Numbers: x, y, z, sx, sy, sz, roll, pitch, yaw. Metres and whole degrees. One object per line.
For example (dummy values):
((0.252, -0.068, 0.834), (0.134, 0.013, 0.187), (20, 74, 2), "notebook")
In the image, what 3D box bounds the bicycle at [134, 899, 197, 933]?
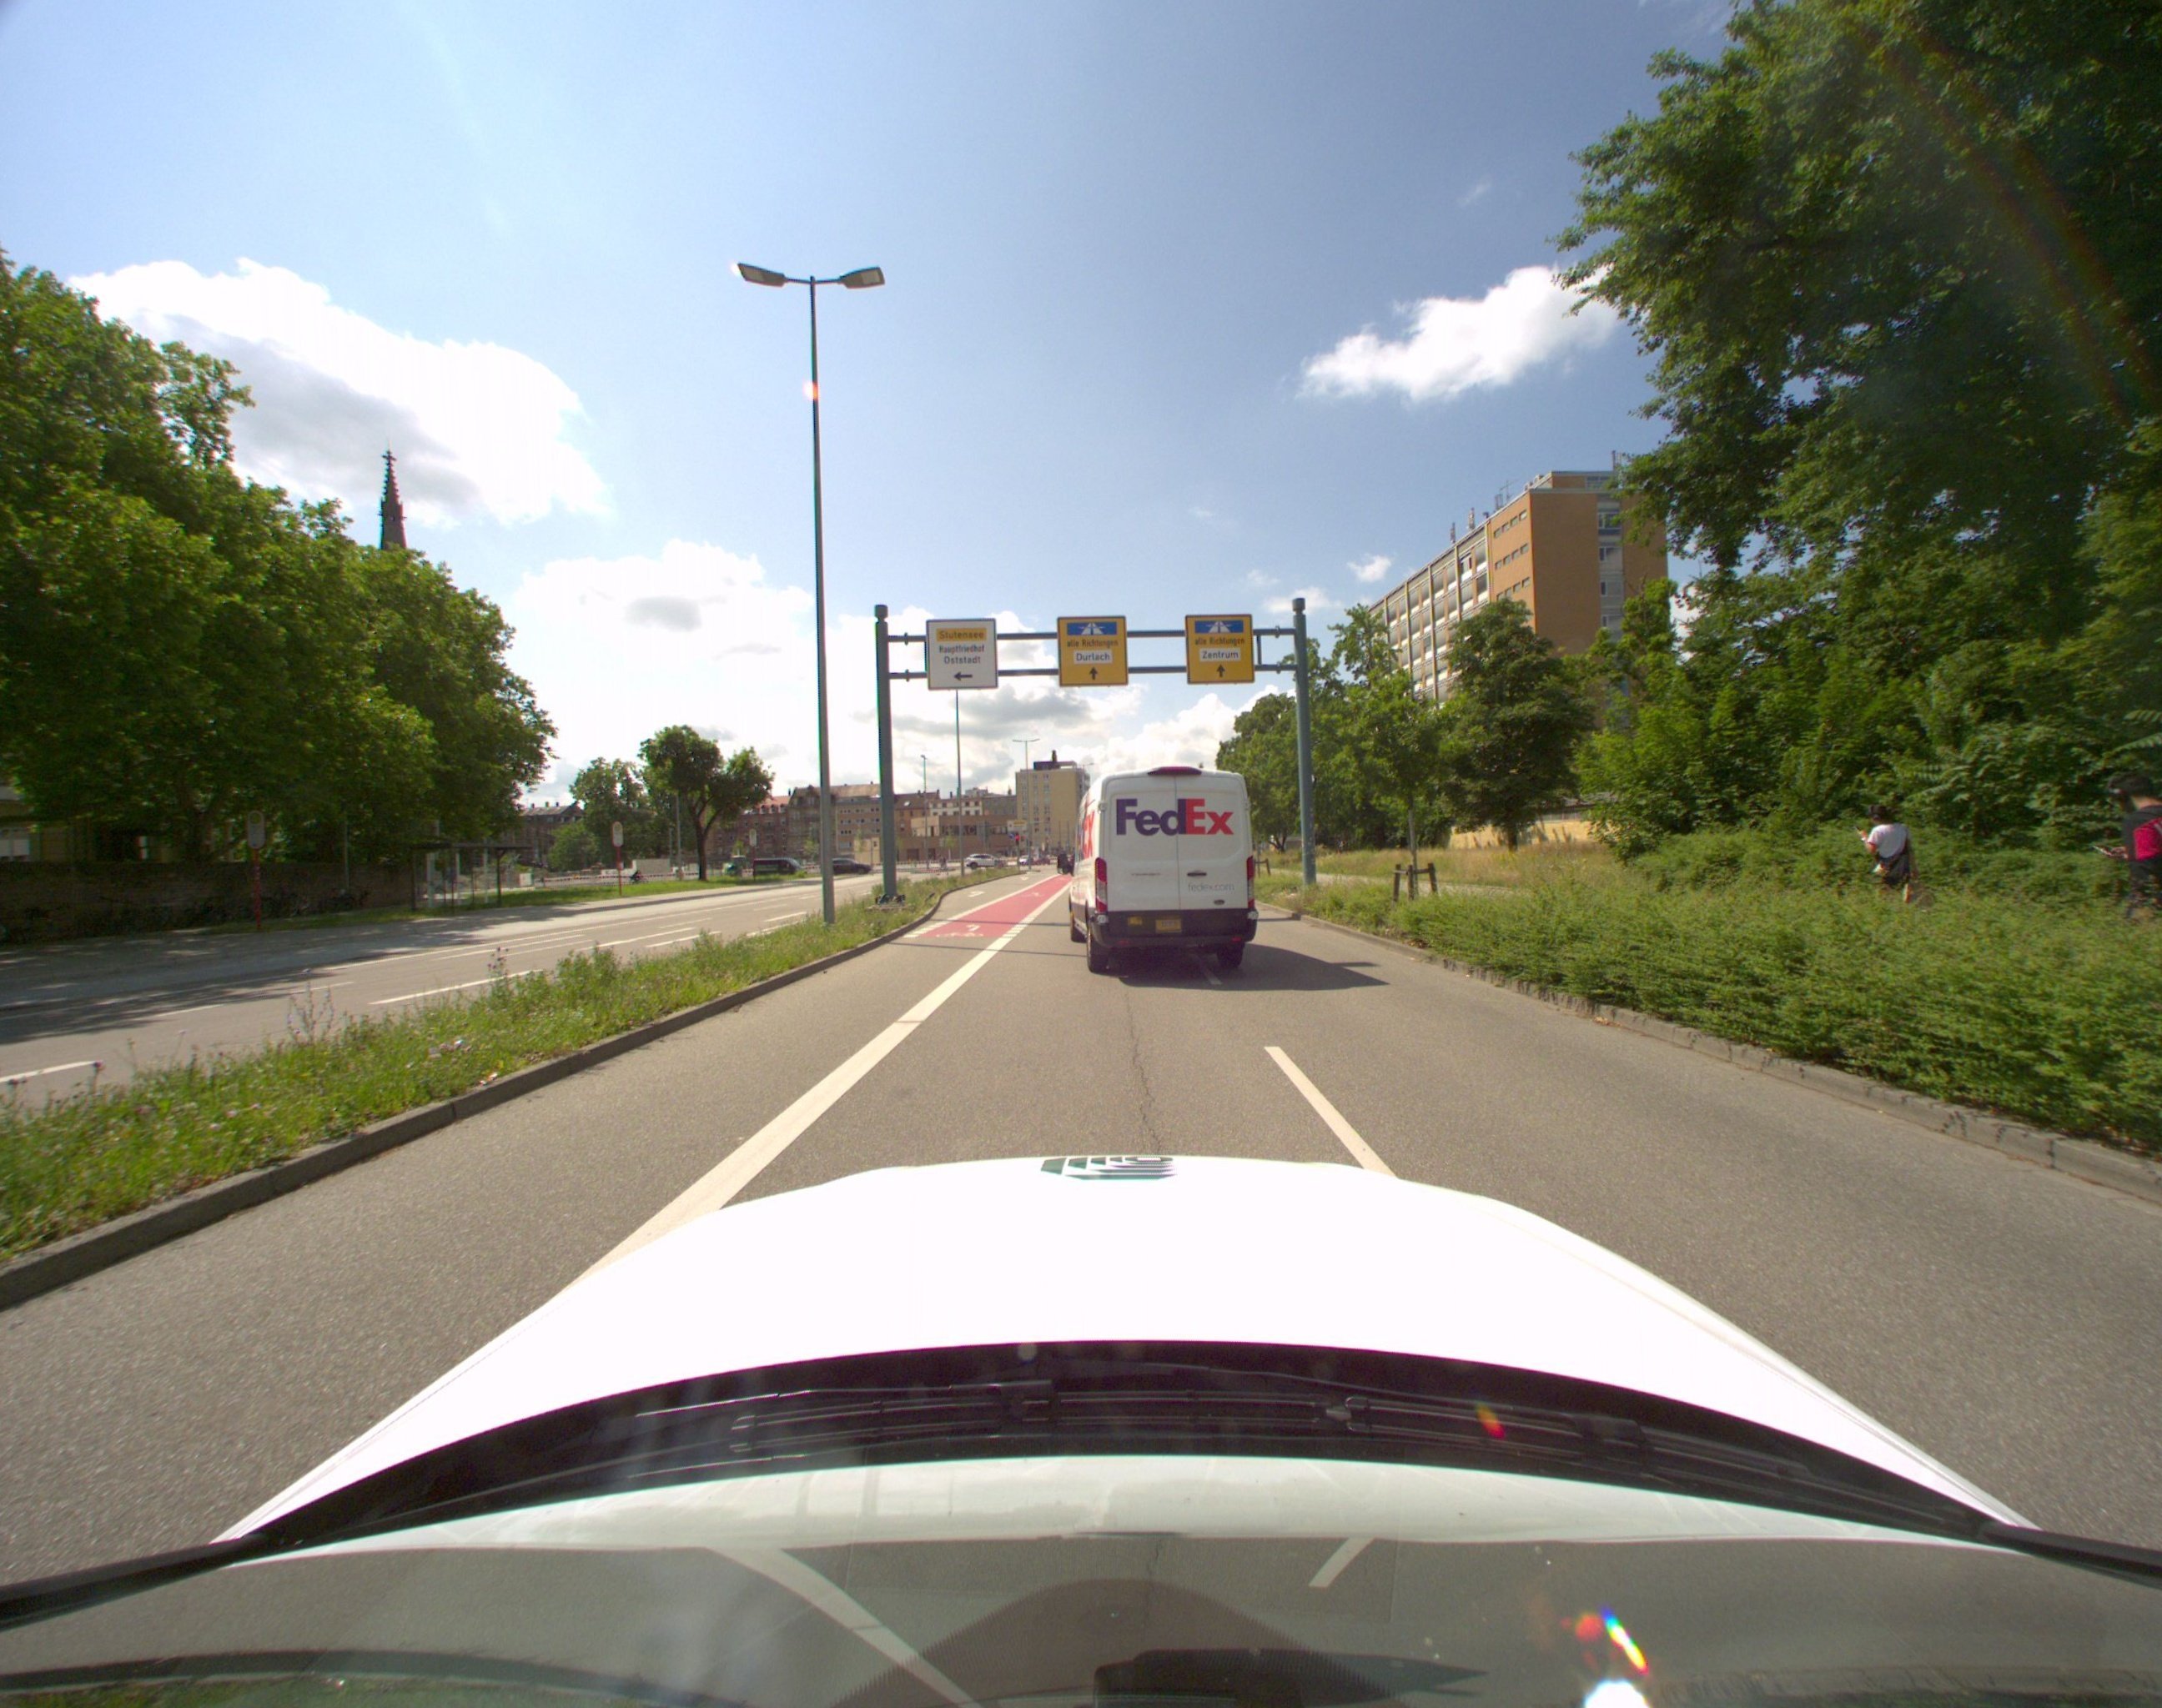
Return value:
((-29.786, 2.003, 26.518), (0.545, 0.951, 1.656), (-2, 0, -16), "bicycle")

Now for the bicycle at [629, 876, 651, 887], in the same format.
((-44.748, 2.777, 82.635), (1.918, 1.030, 0.546), (-2, 0, -7), "bicycle")

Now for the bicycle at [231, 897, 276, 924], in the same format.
((-31.695, 2.157, 31.217), (0.545, 0.902, 1.654), (-2, 0, -20), "bicycle")

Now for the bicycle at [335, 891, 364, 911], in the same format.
((-35.436, 2.273, 39.469), (0.546, 0.902, 1.651), (-2, 0, -25), "bicycle")

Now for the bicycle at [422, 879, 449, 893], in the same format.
((-64.331, 3.180, 81.149), (2.062, 1.290, 0.603), (-2, 0, -7), "bicycle")

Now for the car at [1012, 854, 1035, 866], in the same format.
((-7.845, 0.837, 112.251), (1.887, 1.585, 4.016), (-2, -1, 15), "car")

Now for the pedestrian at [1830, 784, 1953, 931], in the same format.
((9.942, 0.042, 10.021), (0.720, 1.721, 0.747), (-2, 0, 1), "pedestrian")

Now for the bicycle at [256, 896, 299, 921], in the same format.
((-32.324, 2.175, 32.781), (0.545, 0.902, 1.654), (-2, 0, -20), "bicycle")

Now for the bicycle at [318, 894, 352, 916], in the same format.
((-34.457, 2.366, 37.642), (0.545, 0.902, 1.654), (-2, 0, -20), "bicycle")

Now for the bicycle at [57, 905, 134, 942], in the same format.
((-28.900, 2.022, 23.921), (0.544, 0.902, 1.657), (-2, 0, -15), "bicycle")

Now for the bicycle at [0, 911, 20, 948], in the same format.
((-27.842, 1.953, 20.435), (0.544, 0.902, 1.657), (-2, 0, -14), "bicycle")

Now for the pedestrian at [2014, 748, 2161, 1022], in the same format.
((7.155, 0.186, 5.492), (0.713, 1.721, 0.837), (-2, 0, 2), "pedestrian")

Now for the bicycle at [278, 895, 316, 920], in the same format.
((-33.091, 2.248, 34.380), (0.453, 0.902, 1.782), (-2, 0, -20), "bicycle")

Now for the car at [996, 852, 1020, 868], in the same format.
((-10.121, 0.798, 112.886), (1.979, 2.014, 4.016), (-2, -1, 15), "car")

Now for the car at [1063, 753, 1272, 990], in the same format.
((0.950, 0.180, 12.223), (2.136, 2.652, 5.697), (-2, 0, -3), "car")

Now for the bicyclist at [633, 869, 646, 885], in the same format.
((-44.813, 2.332, 82.616), (0.967, 1.474, 0.550), (-2, 0, -7), "bicyclist")

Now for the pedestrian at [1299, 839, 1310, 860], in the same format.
((22.418, -0.443, 81.733), (0.837, 2.058, 0.745), (-2, 0, 28), "pedestrian")

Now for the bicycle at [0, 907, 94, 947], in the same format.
((-28.134, 1.973, 22.179), (0.500, 0.902, 1.663), (-2, 0, -3), "bicycle")

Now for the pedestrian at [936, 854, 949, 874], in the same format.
((-11.048, 0.828, 64.937), (0.879, 1.560, 0.549), (-2, 0, -34), "pedestrian")

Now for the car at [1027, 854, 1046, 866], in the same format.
((-6.418, 0.836, 118.435), (1.868, 1.652, 4.010), (-2, -1, 9), "car")

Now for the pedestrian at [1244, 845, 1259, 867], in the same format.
((12.340, 0.150, 58.945), (0.842, 1.539, 0.835), (-2, 0, 0), "pedestrian")

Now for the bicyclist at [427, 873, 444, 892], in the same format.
((-64.336, 2.835, 81.153), (1.118, 1.844, 0.592), (-2, 0, -7), "bicyclist")

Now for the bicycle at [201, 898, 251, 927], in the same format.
((-31.079, 2.110, 29.617), (0.545, 0.902, 1.654), (-2, 0, -20), "bicycle")

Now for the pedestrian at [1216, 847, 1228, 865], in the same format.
((11.502, 0.151, 66.359), (0.842, 1.389, 0.741), (-2, 0, 0), "pedestrian")

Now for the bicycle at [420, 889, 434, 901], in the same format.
((-50.529, 3.154, 62.889), (1.644, 0.902, 0.549), (-2, 0, 42), "bicycle")

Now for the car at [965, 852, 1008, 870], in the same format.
((-9.997, 0.753, 86.426), (4.349, 1.794, 1.997), (-2, -1, -4), "car")

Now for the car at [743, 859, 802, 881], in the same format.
((-30.385, 1.561, 80.343), (4.997, 1.879, 1.927), (-2, 0, -3), "car")

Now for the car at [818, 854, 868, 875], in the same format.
((-25.005, 1.113, 85.830), (4.620, 2.014, 2.097), (-2, -1, -4), "car")

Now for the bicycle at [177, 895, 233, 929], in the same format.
((-30.246, 1.985, 28.140), (0.545, 1.051, 1.615), (-2, 0, -16), "bicycle")
